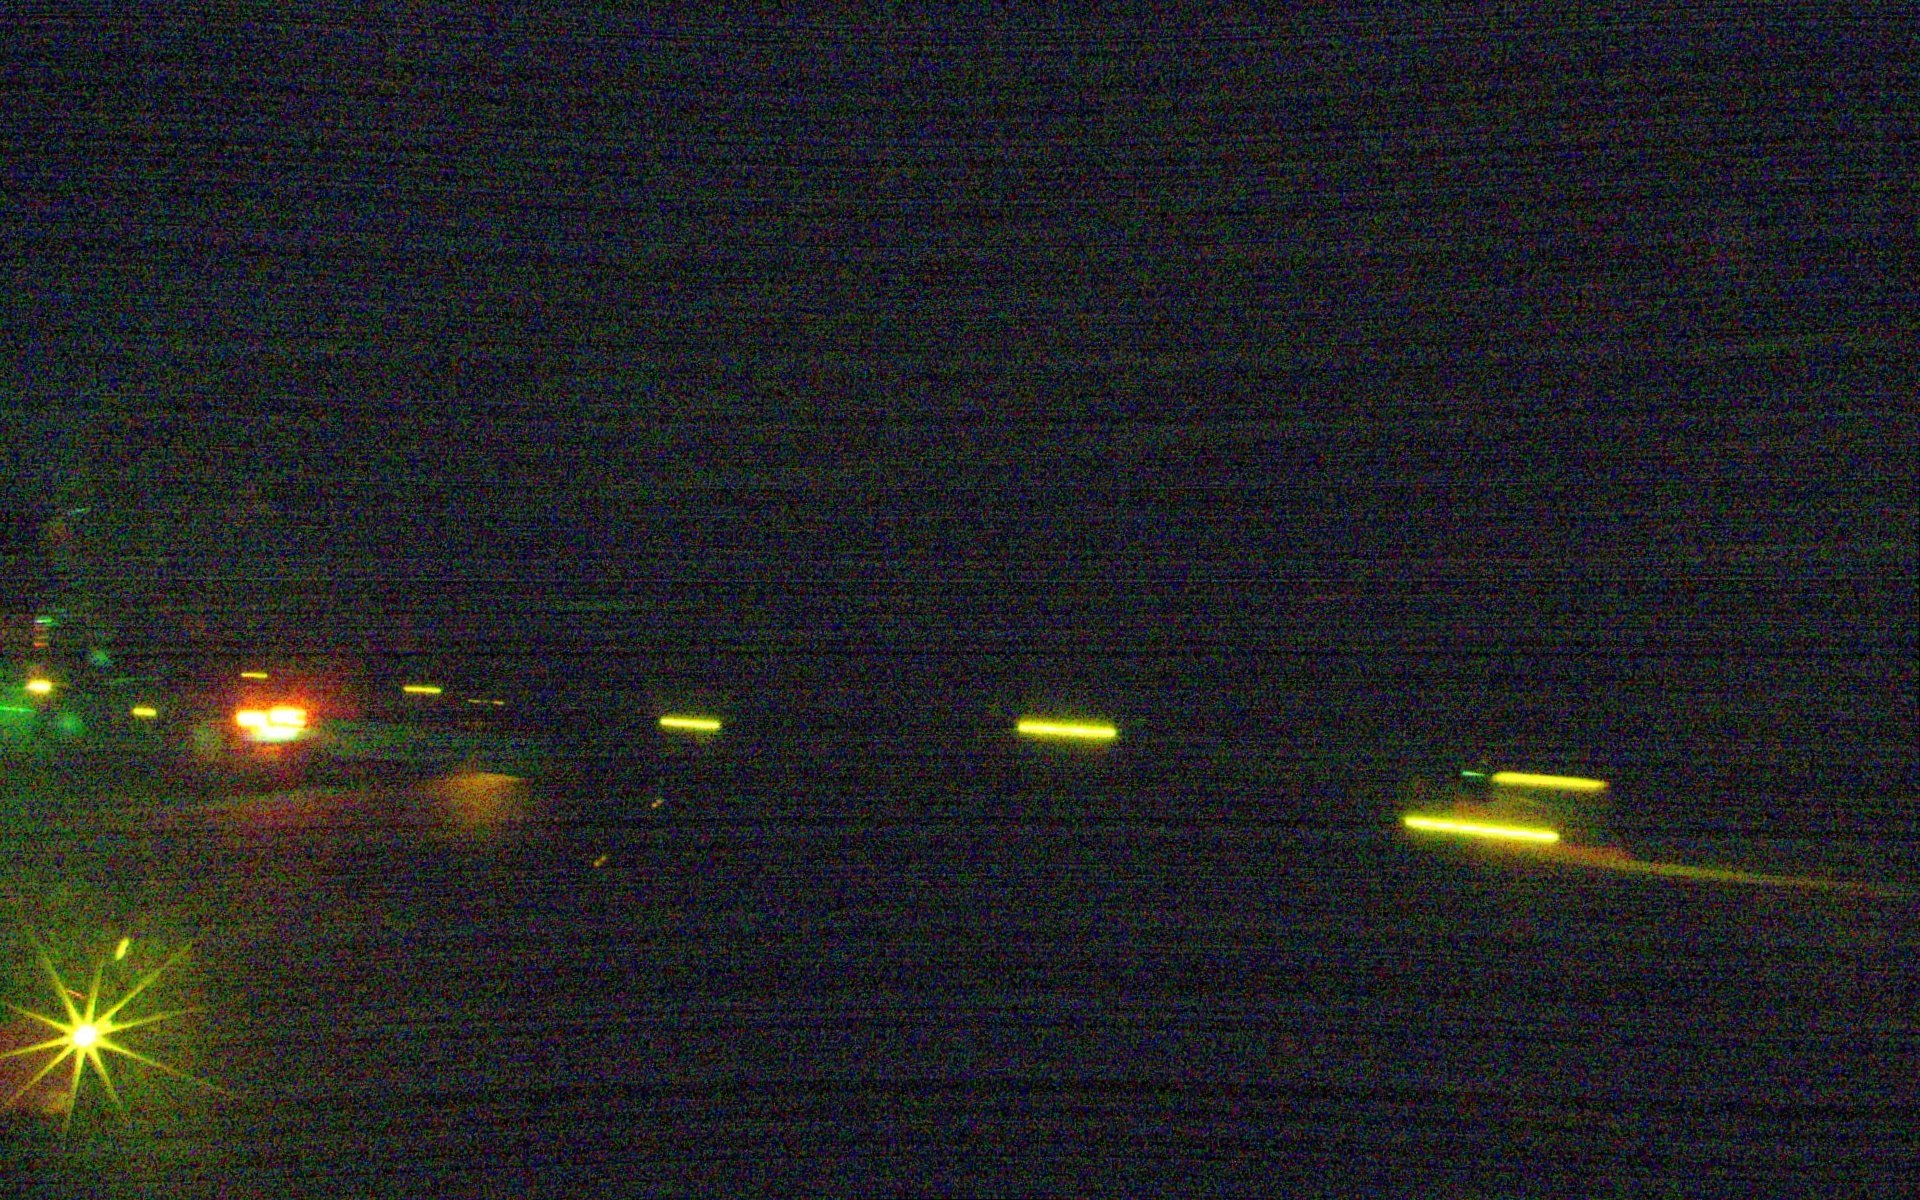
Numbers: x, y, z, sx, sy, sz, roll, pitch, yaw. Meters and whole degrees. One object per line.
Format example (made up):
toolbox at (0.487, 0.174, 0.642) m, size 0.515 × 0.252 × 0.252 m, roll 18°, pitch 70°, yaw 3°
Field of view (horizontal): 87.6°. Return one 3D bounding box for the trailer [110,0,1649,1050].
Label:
trailer at (-2.441, -0.385, 8.107) m, size 13.013 × 4.120 × 2.849 m, roll -1°, pitch 0°, yaw 31°

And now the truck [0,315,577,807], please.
truck at (-8.066, -0.258, 11.550) m, size 7.400 × 4.130 × 2.857 m, roll -1°, pitch 0°, yaw 31°
